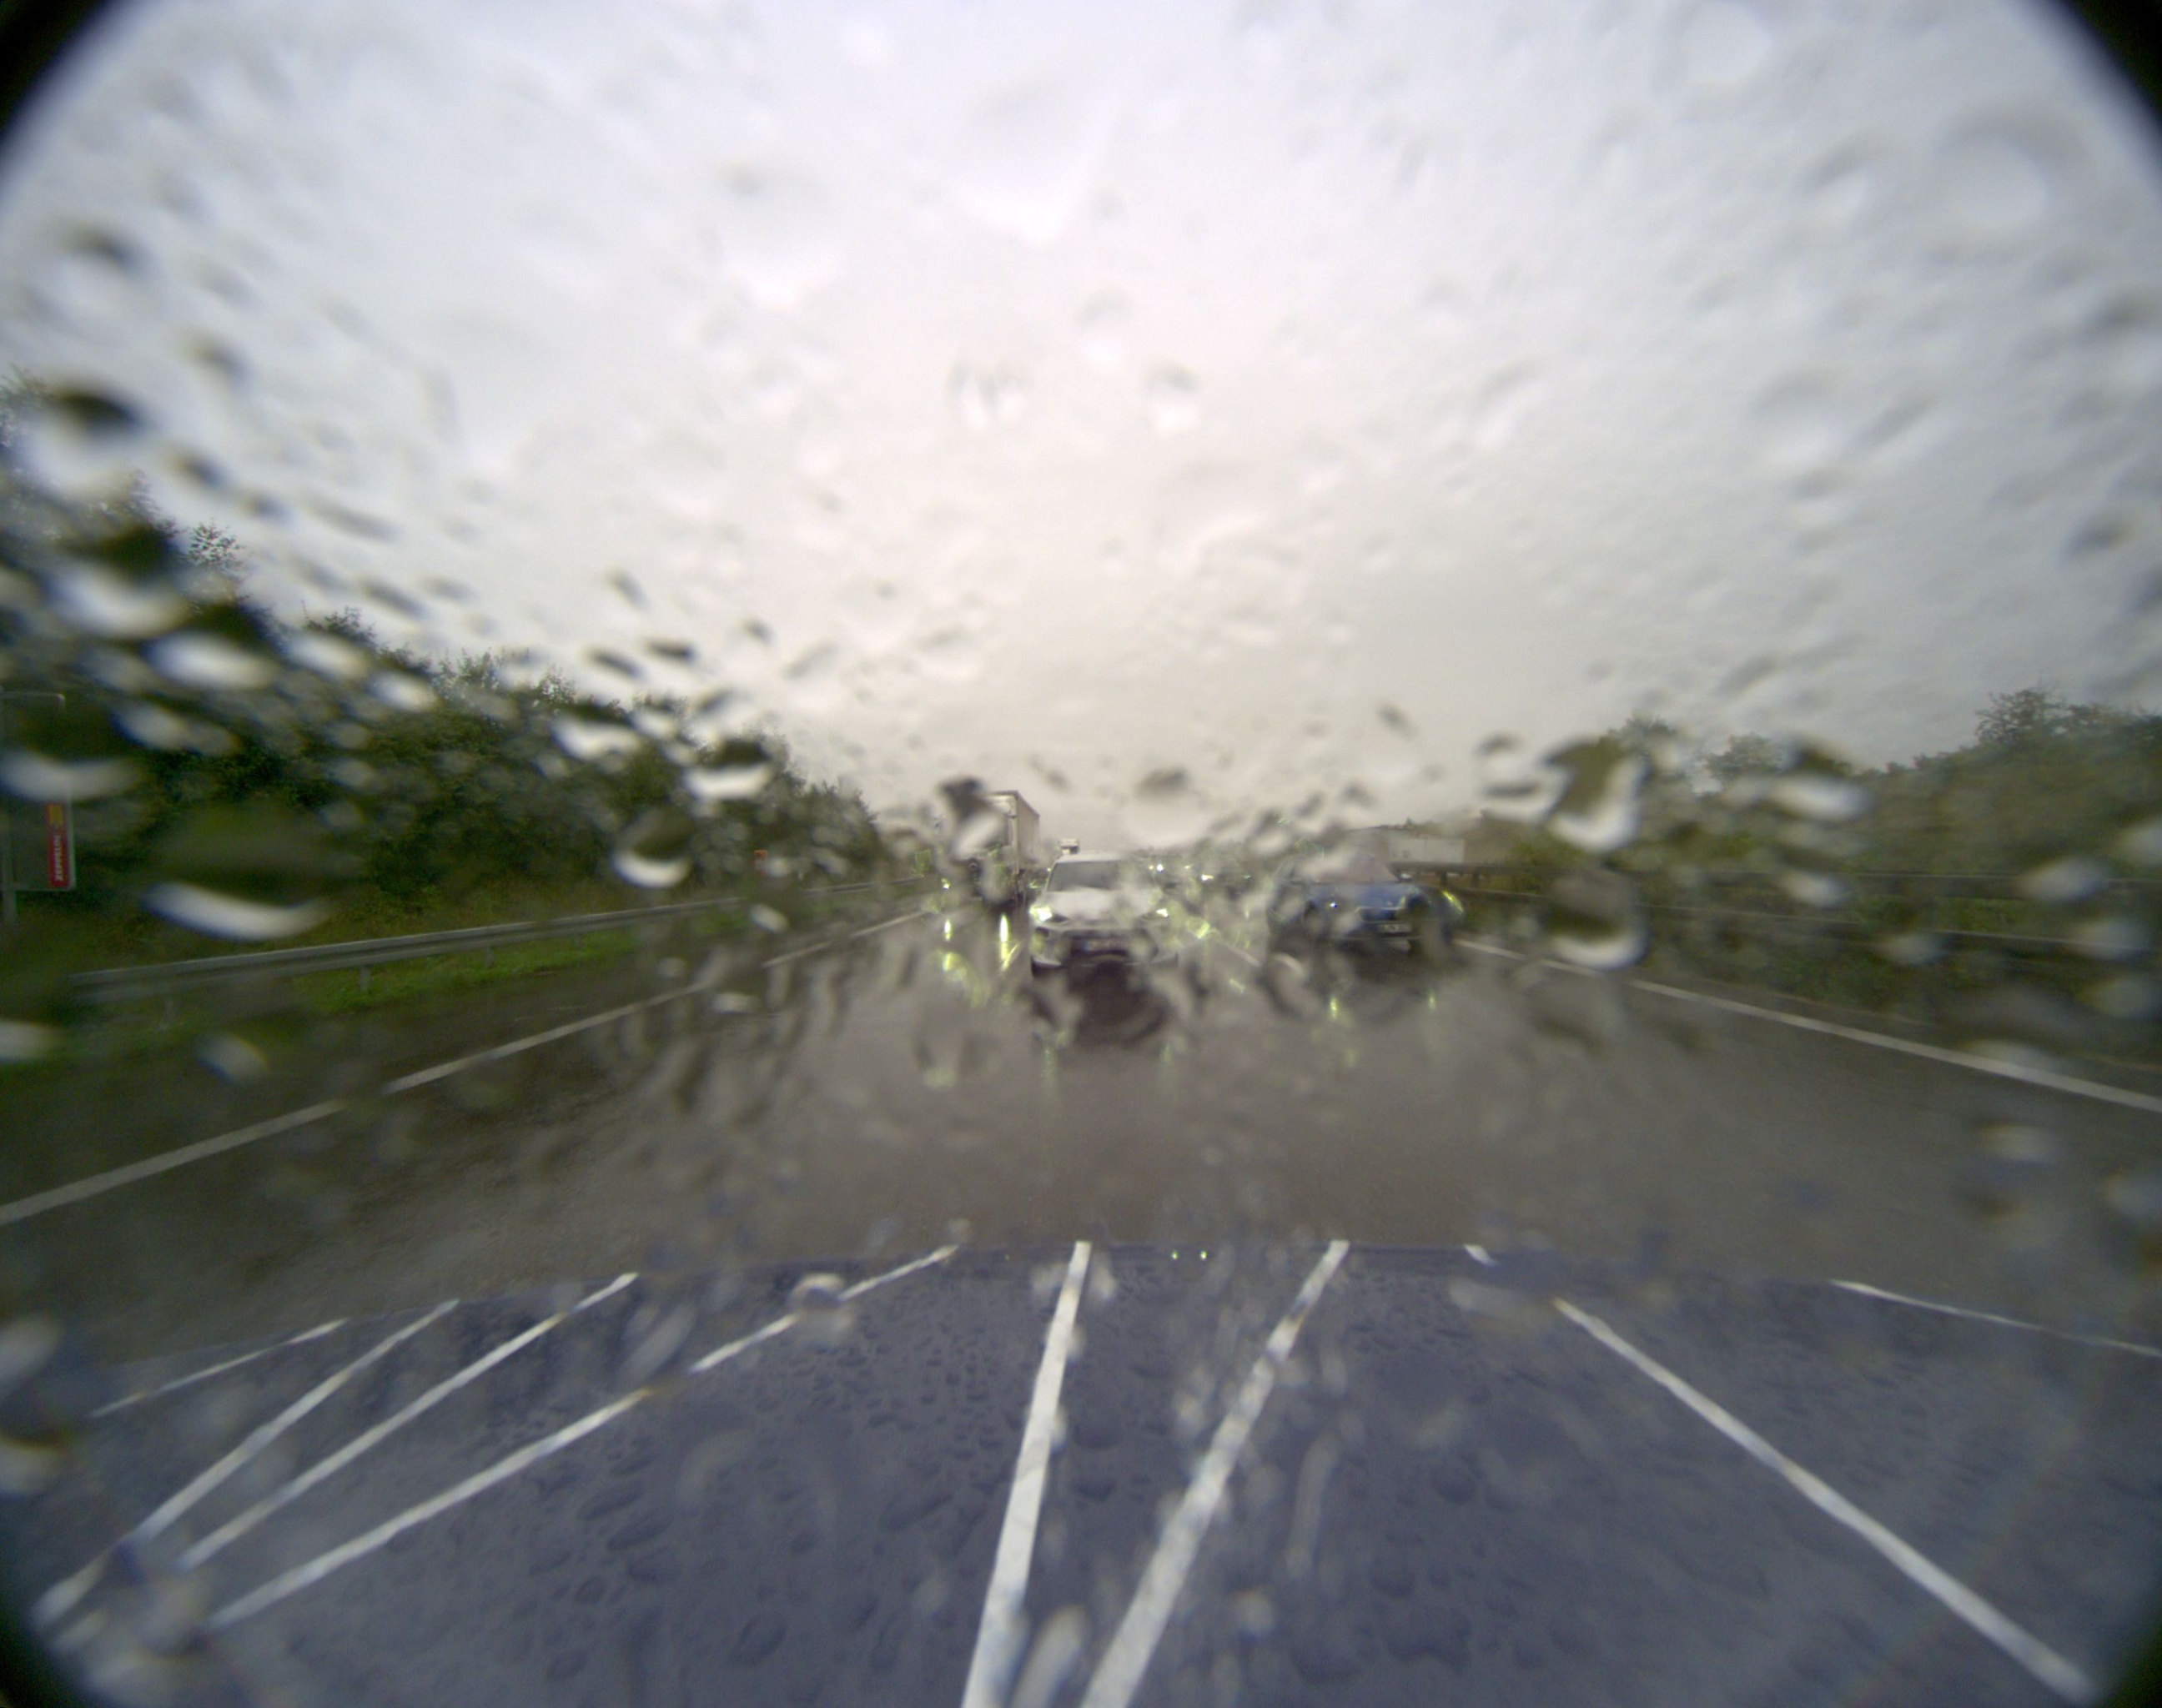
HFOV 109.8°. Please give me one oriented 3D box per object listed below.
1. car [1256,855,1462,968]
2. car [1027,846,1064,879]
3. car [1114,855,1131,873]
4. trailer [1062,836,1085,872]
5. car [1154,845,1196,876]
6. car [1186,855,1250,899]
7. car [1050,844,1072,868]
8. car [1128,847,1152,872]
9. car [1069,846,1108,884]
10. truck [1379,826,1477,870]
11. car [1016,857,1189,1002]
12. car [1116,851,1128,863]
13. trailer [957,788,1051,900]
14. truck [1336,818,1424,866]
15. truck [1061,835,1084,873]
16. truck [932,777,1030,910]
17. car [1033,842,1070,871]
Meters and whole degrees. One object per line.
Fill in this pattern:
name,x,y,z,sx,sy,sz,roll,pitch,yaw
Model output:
car,4.285,0.787,12.545,1.790,1.467,4.512,-2,0,1
car,-2.327,0.534,50.967,1.946,2.002,4.447,-2,1,3
car,4.819,1.149,88.947,1.737,2.002,4.223,-2,0,1
trailer,-0.881,0.031,101.539,2.628,4.635,9.222,-2,0,2
car,5.244,0.362,42.960,1.888,1.622,4.269,-2,0,1
car,4.964,0.781,27.997,1.613,1.428,4.371,-2,0,1
car,-1.975,0.195,76.344,1.998,2.231,4.000,-2,0,1
car,4.990,0.458,64.631,1.888,2.002,4.270,-2,0,4
car,0.463,0.594,42.795,1.998,2.002,4.000,-2,0,2
truck,22.173,-0.389,49.122,2.657,2.466,7.891,-2,1,0
car,0.282,0.869,10.544,1.893,1.578,4.000,-2,0,1
car,5.221,0.386,97.902,1.458,1.540,2.804,0,2,2
trailer,-3.270,-0.444,36.412,2.633,4.224,14.175,-2,1,1
truck,22.454,-0.787,57.673,2.933,3.262,9.255,-2,0,0
truck,-1.021,-0.005,96.361,2.628,4.635,4.290,-2,0,1
truck,-3.434,-0.363,27.310,2.633,4.229,5.043,-2,1,1
car,-2.163,0.163,57.411,2.260,2.002,4.270,-2,1,4
